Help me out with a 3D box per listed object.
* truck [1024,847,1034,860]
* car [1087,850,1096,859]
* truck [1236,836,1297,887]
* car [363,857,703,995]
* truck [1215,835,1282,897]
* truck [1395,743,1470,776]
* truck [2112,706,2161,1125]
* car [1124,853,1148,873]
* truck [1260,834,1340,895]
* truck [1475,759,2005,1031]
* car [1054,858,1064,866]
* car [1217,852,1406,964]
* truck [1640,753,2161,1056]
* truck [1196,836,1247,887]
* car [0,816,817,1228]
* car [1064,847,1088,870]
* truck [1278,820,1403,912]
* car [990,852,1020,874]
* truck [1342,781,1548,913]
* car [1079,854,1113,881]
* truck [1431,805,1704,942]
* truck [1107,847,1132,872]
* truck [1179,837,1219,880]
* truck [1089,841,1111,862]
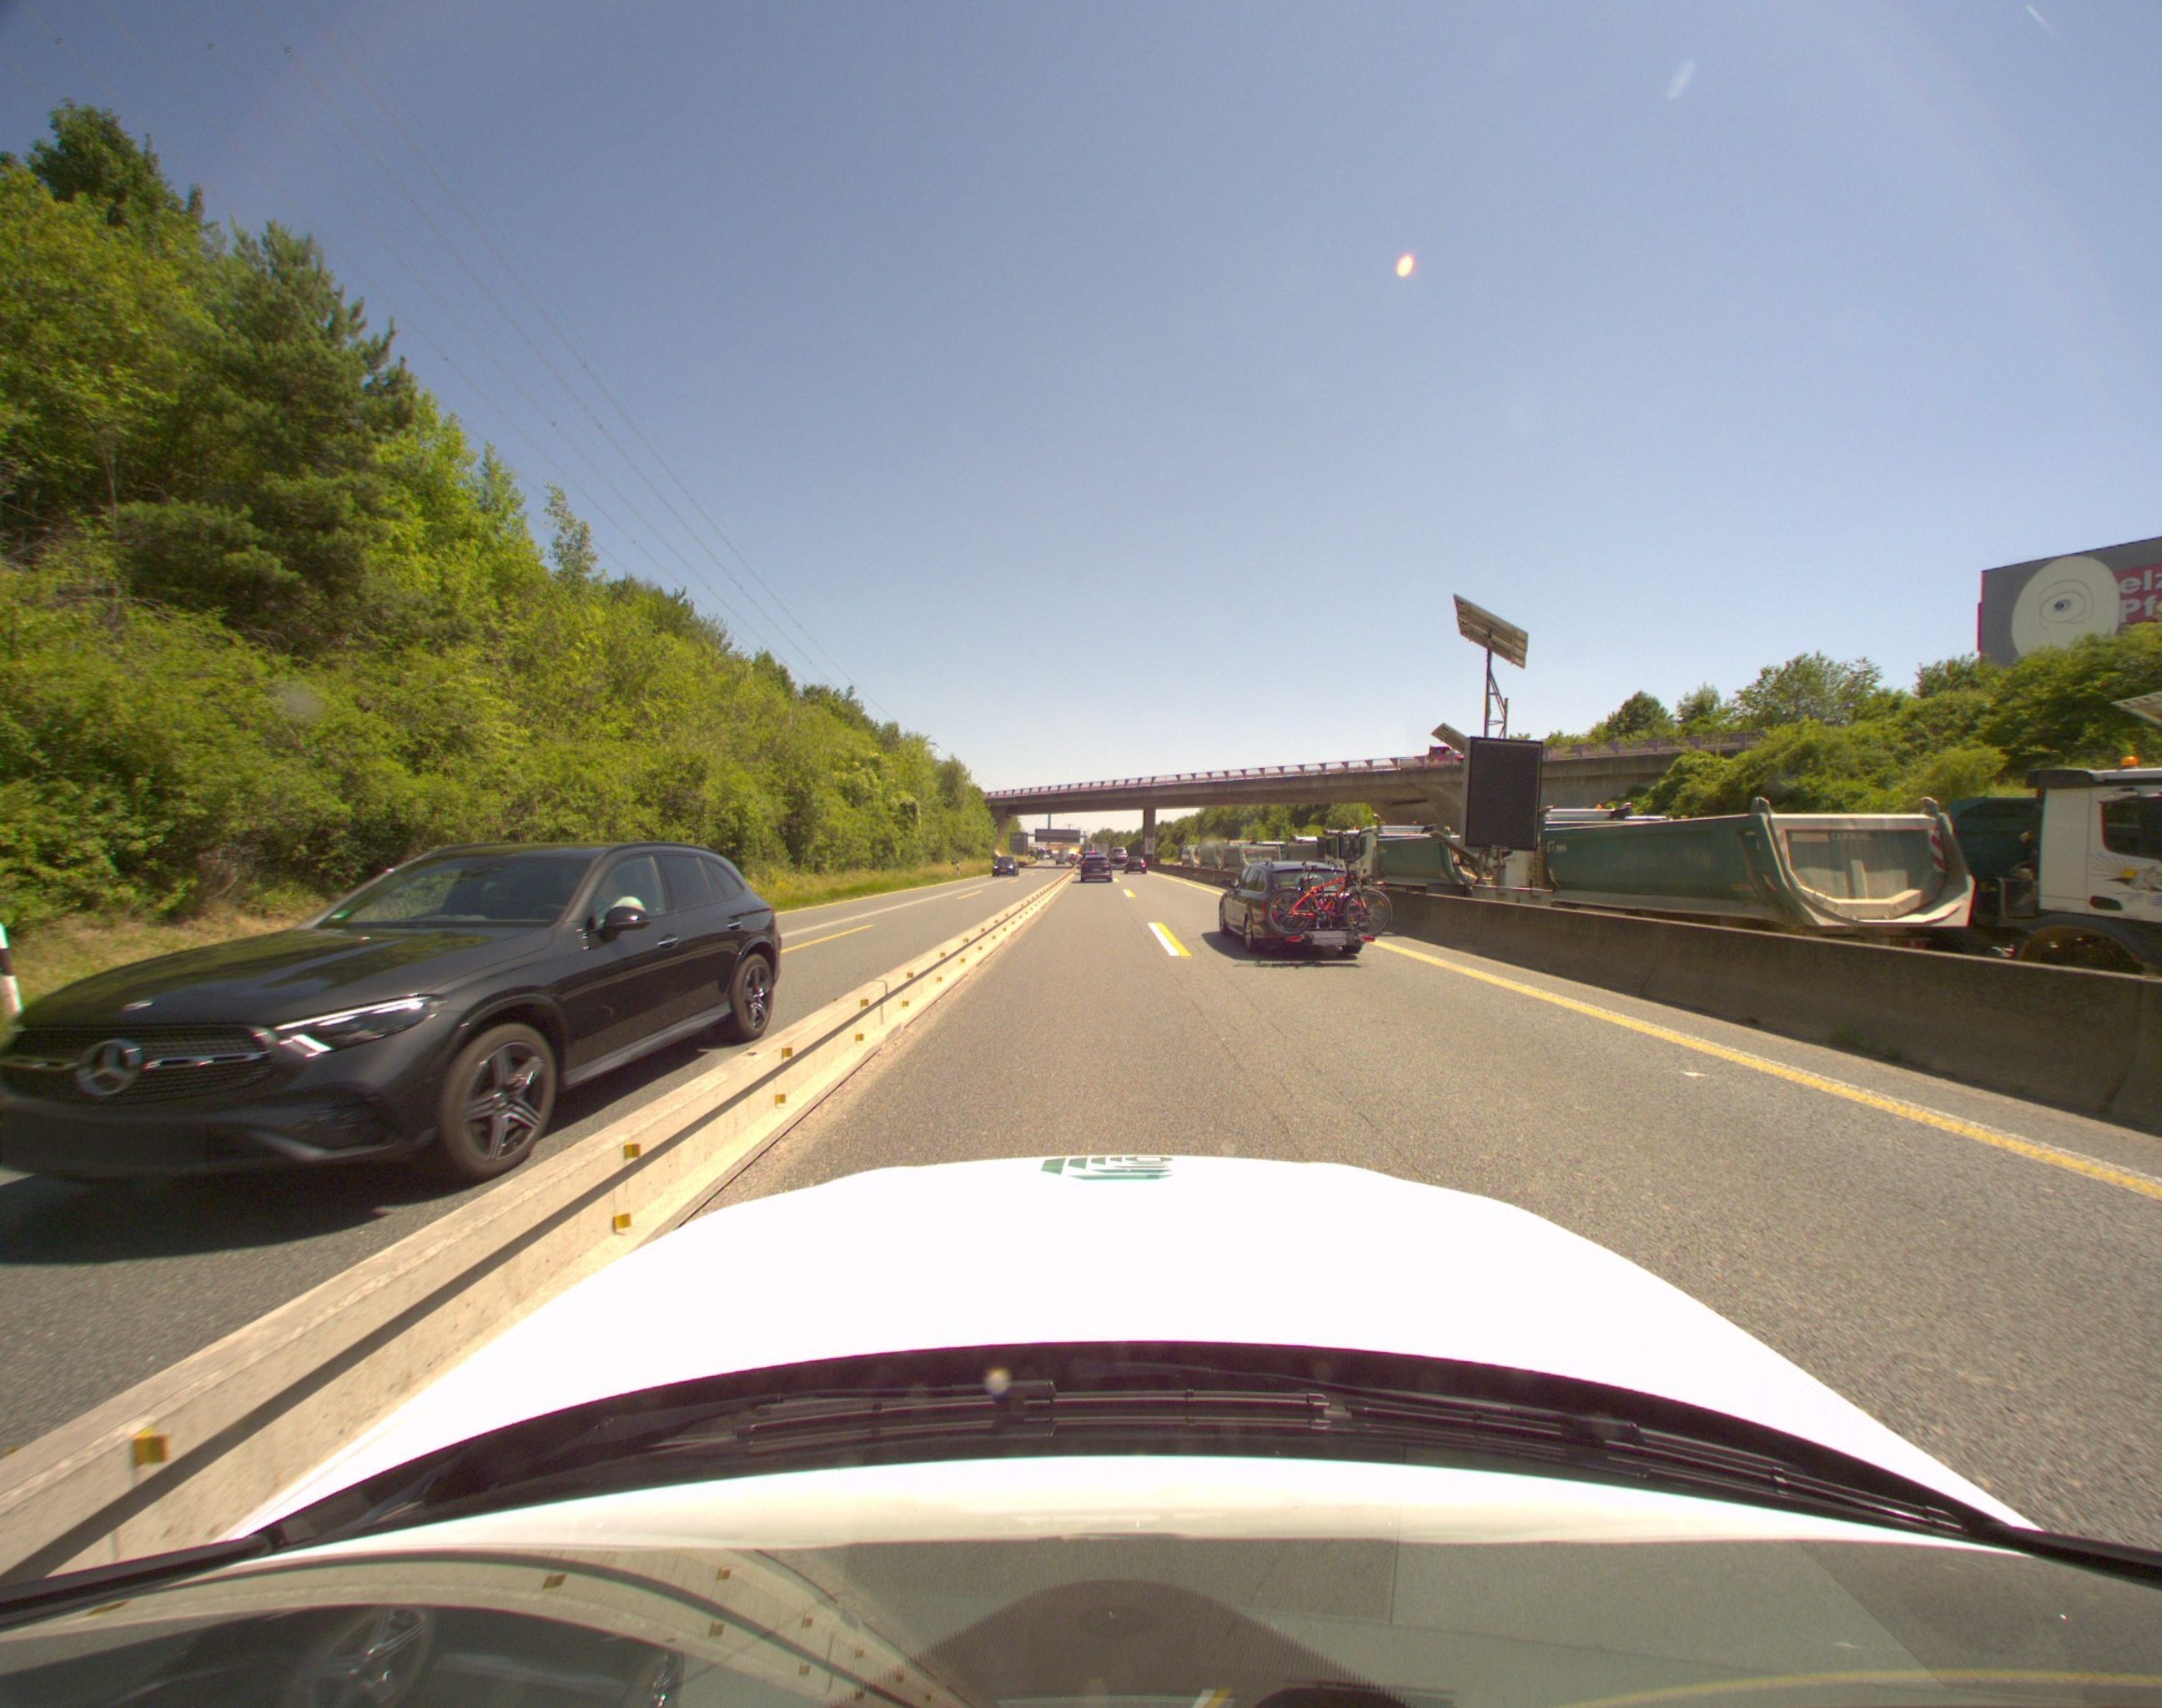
[{"bbox_3d":[-12.933,-0.210,204.056,2.503,3.186,10.096,0,0,-4],"label":"truck"},{"bbox_3d":[2.414,0.114,186.588,1.895,1.968,4.270,0,0,-4],"label":"car"},{"bbox_3d":[14.341,0.549,63.687,2.678,3.727,9.325,0,0,0],"label":"truck"},{"bbox_3d":[-7.082,0.811,11.167,1.717,1.522,4.186,0,0,2],"label":"car"},{"bbox_3d":[10.948,0.762,54.276,2.678,3.761,9.326,0,0,1],"label":"truck"},{"bbox_3d":[28.955,-7.766,67.273,1.945,2.066,5.456,1,-1,-35],"label":"truck"},{"bbox_3d":[10.390,0.508,2.426,2.677,3.557,9.605,0,0,1],"label":"truck"},{"bbox_3d":[4.651,0.752,68.955,1.892,1.585,4.278,0,0,2],"label":"car"},{"bbox_3d":[13.819,0.633,52.177,2.678,3.557,9.325,0,0,0],"label":"truck"},{"bbox_3d":[10.902,0.549,15.374,2.677,3.557,9.411,0,0,2],"label":"truck"},{"bbox_3d":[-3.806,1.334,140.779,1.668,1.393,4.071,0,-1,1],"label":"car"},{"bbox_3d":[3.504,0.746,13.401,1.892,1.490,4.950,0,-1,2],"label":"car"},{"bbox_3d":[13.535,0.568,13.202,2.677,3.378,9.608,0,0,2],"label":"truck"},{"bbox_3d":[11.207,0.549,65.931,2.678,3.856,9.326,0,0,1],"label":"truck"},{"bbox_3d":[-3.572,0.665,5.599,1.837,1.610,4.700,1,0,1],"label":"car"},{"bbox_3d":[-0.386,0.393,69.693,1.892,1.968,4.278,0,0,2],"label":"car"},{"bbox_3d":[11.167,0.486,36.164,2.678,3.557,9.325,0,0,0],"label":"truck"},{"bbox_3d":[-5.844,0.672,63.073,1.771,1.577,4.071,0,0,2],"label":"car"},{"bbox_3d":[11.366,-0.188,26.727,2.678,3.557,9.325,0,0,0],"label":"truck"},{"bbox_3d":[0.927,0.779,47.756,1.892,1.505,4.278,0,0,2],"label":"car"},{"bbox_3d":[14.103,0.483,24.961,2.678,3.378,9.602,0,0,0],"label":"truck"},{"bbox_3d":[4.153,0.574,88.681,2.397,2.558,7.500,0,0,0],"label":"truck"},{"bbox_3d":[11.203,0.442,78.127,2.678,3.843,9.326,0,0,1],"label":"truck"},{"bbox_3d":[3.467,-0.434,151.682,3.286,3.845,10.096,0,0,-4],"label":"truck"}]
